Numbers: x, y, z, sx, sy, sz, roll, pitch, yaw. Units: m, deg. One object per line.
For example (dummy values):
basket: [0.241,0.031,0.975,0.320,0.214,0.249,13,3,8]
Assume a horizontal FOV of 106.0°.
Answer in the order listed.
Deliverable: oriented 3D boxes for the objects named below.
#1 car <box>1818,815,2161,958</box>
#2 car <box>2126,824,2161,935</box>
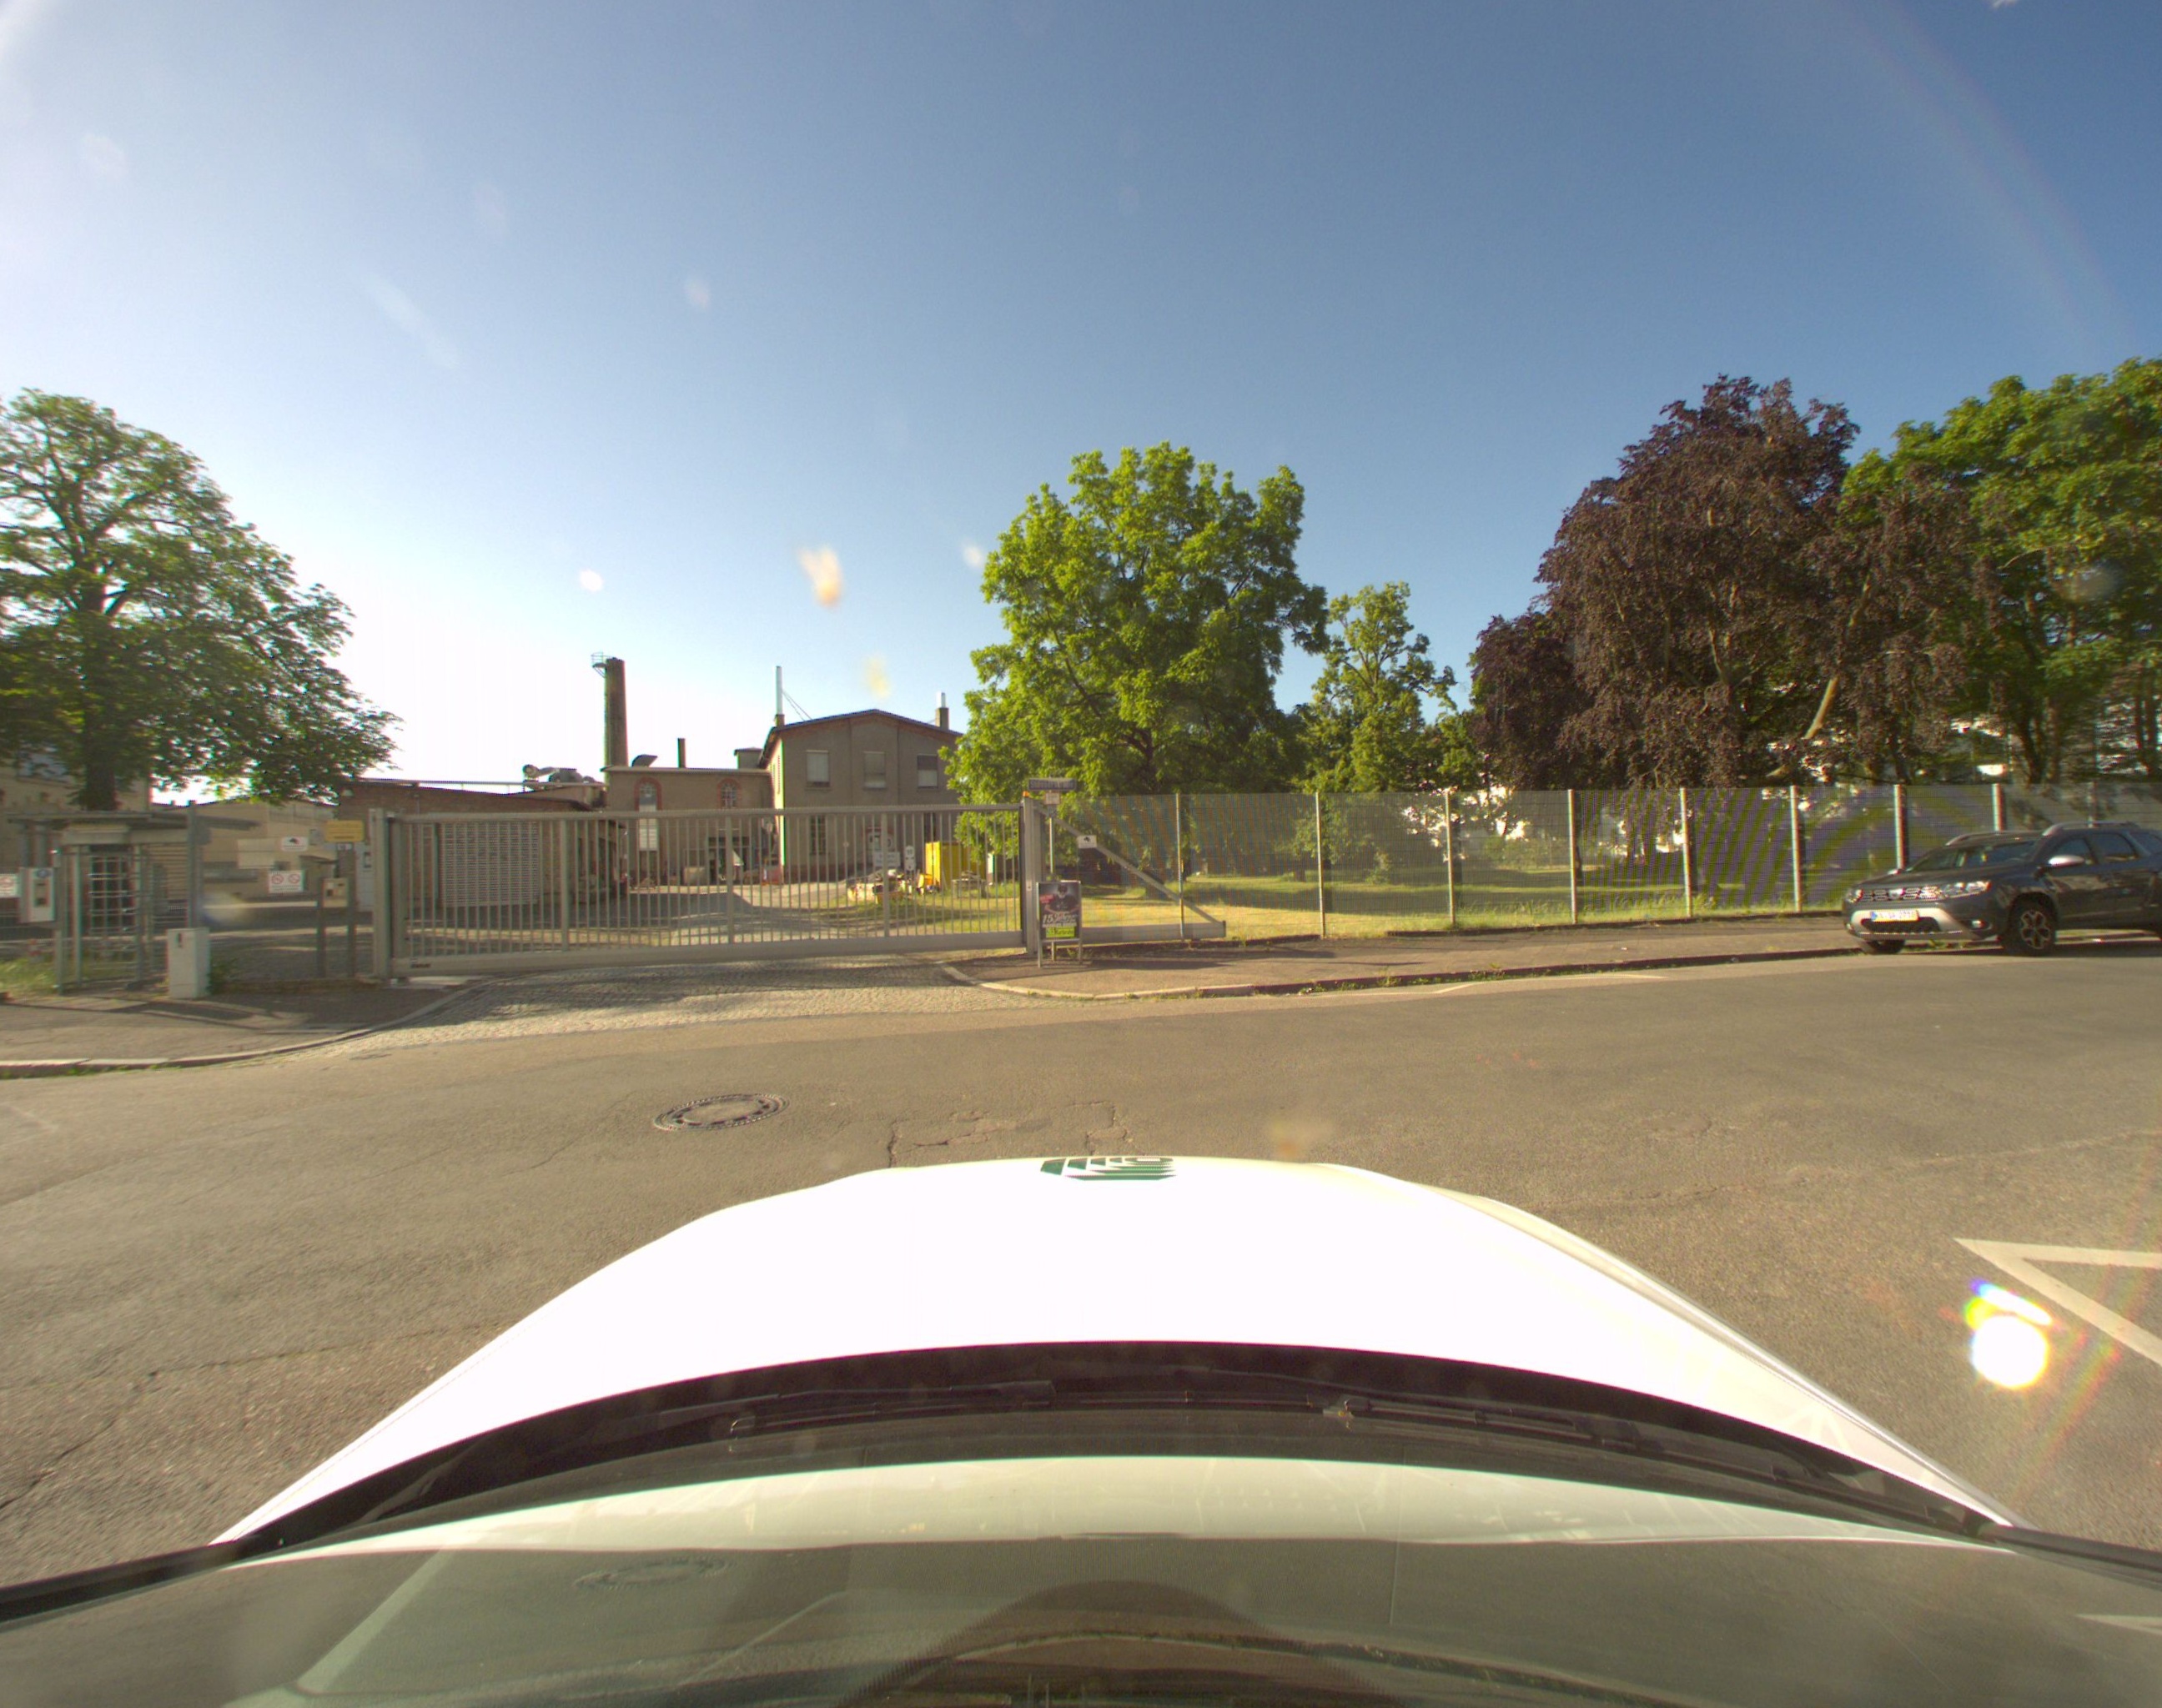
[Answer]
car: [12.633,0.420,11.021,4.153,1.664,1.711,-1,-4,-11]
car: [17.914,0.290,11.974,3.605,1.644,1.562,-1,-5,-11]
